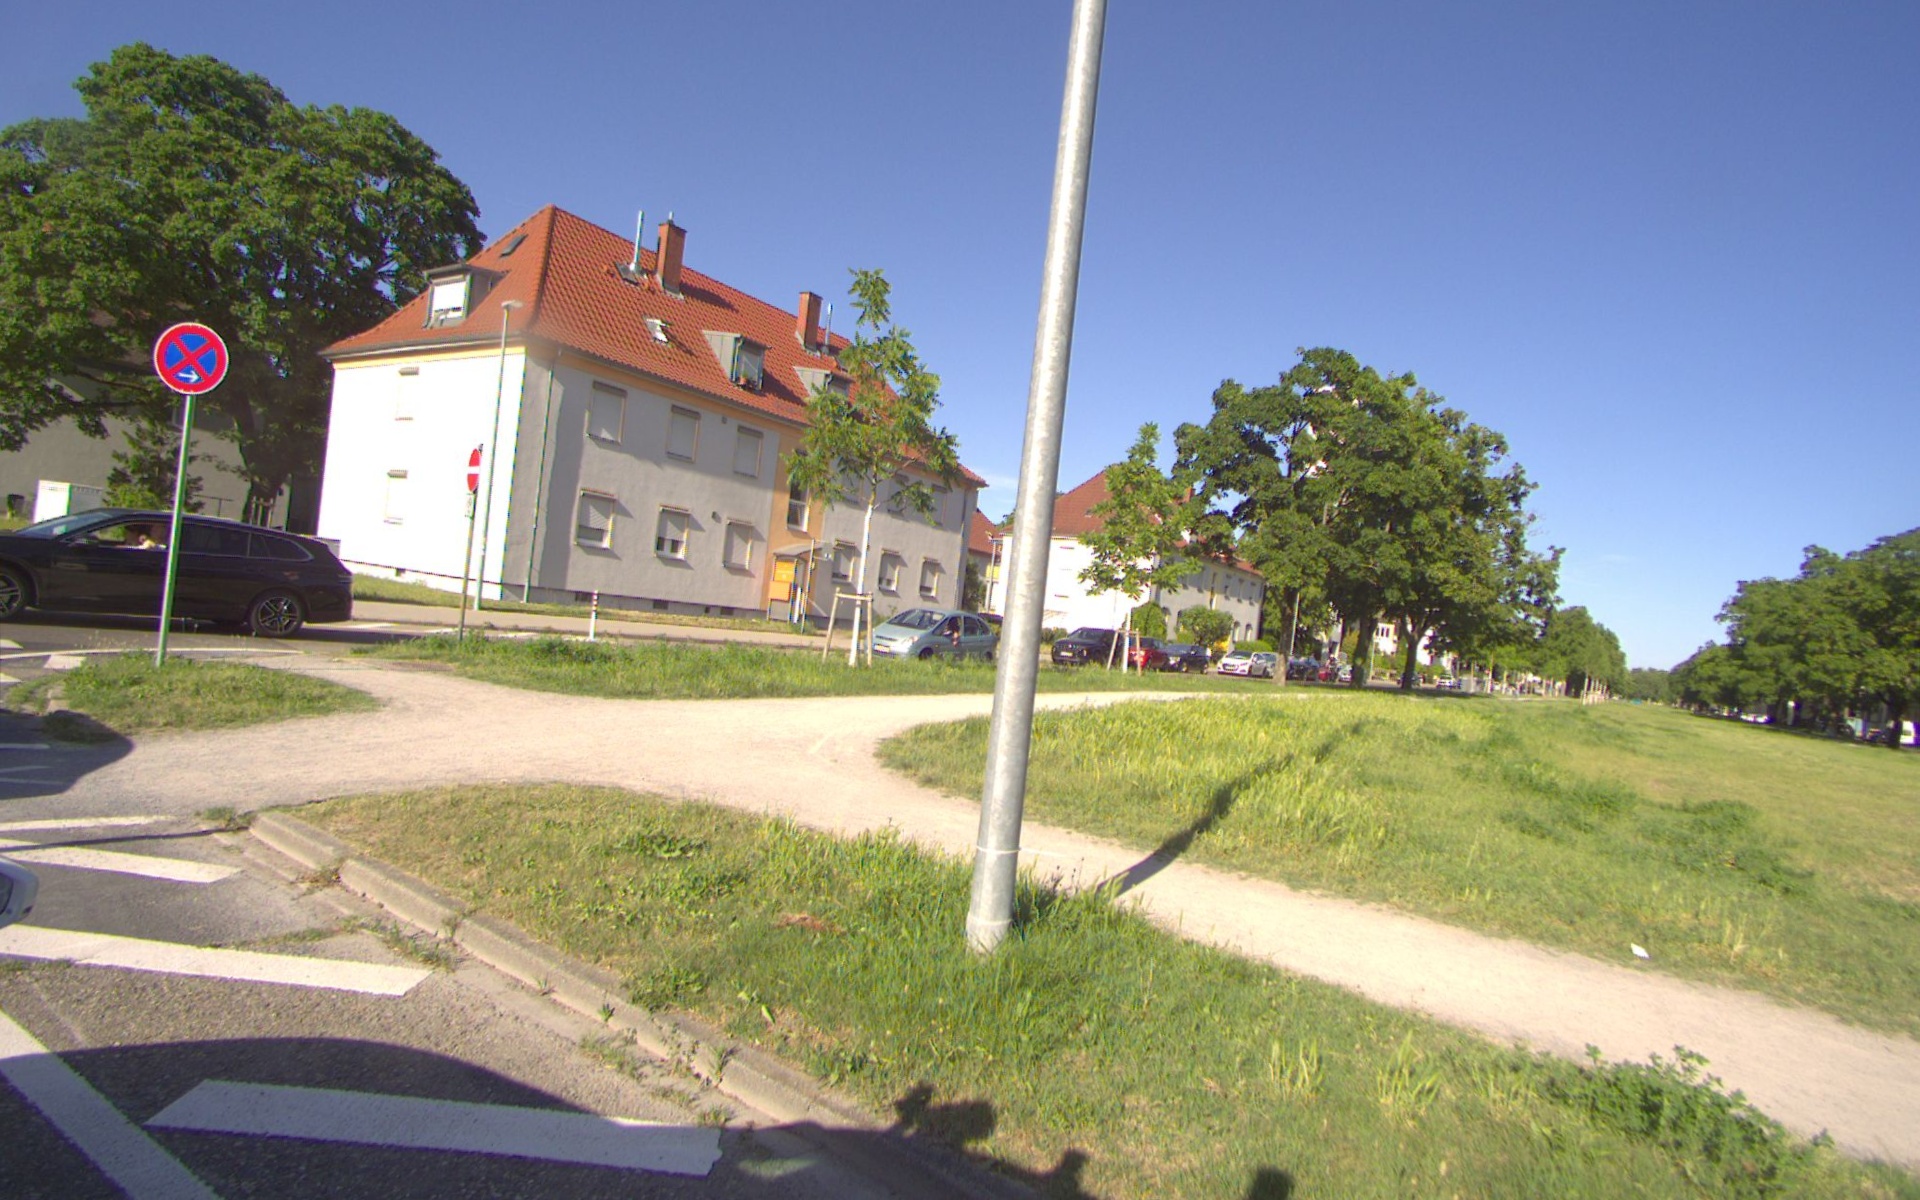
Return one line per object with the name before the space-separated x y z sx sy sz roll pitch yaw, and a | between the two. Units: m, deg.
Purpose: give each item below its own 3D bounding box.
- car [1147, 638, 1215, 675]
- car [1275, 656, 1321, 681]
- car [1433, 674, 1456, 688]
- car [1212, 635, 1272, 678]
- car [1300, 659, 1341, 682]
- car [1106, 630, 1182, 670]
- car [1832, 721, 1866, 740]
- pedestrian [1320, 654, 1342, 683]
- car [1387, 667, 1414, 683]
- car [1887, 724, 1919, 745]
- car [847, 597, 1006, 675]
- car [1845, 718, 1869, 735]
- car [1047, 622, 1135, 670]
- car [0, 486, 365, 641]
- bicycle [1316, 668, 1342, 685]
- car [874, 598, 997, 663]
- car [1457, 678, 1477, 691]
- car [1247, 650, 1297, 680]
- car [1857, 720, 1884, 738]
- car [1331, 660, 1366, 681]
car | 10.894 2.807 49.493 1.694 1.459 4.129 7 0 35
car | 22.158 4.505 65.882 1.694 1.358 3.798 7 0 35
car | 56.769 9.493 117.845 1.694 1.358 3.798 7 0 35
car | 16.070 3.233 57.204 1.842 2.038 4.244 7 0 35
car | 25.537 5.000 71.280 1.694 1.358 3.798 7 0 35
car | 8.398 2.307 45.704 1.694 1.459 4.129 7 0 35
car | 93.468 13.724 105.772 2.049 1.484 4.713 7 0 36
pedestrian | 23.575 4.346 63.974 1.036 1.730 0.692 7 1 30
car | 43.503 7.416 99.294 1.694 1.358 3.798 7 0 35
car | 103.654 14.789 110.603 1.837 1.868 3.982 7 0 36
car | -0.778 0.979 26.255 1.859 1.628 4.235 7 0 35
car | 119.232 16.788 133.736 1.837 1.868 3.982 7 0 36
car | 5.365 1.909 40.882 1.694 1.602 4.129 7 0 35
car | -10.571 -0.462 12.759 1.969 1.543 4.742 7 0 35
bicycle | 23.487 4.880 63.941 1.036 0.949 2.759 7 0 30
car | -0.709 1.016 31.979 1.694 1.684 4.053 7 0 35
car | 65.806 11.010 130.662 1.694 1.358 3.798 7 0 35
car | 19.158 4.002 61.680 1.694 1.517 3.798 7 0 35
car | 110.234 15.600 121.814 1.837 1.868 3.982 7 0 36
car | 31.041 5.612 80.331 1.694 1.358 3.798 7 0 35
